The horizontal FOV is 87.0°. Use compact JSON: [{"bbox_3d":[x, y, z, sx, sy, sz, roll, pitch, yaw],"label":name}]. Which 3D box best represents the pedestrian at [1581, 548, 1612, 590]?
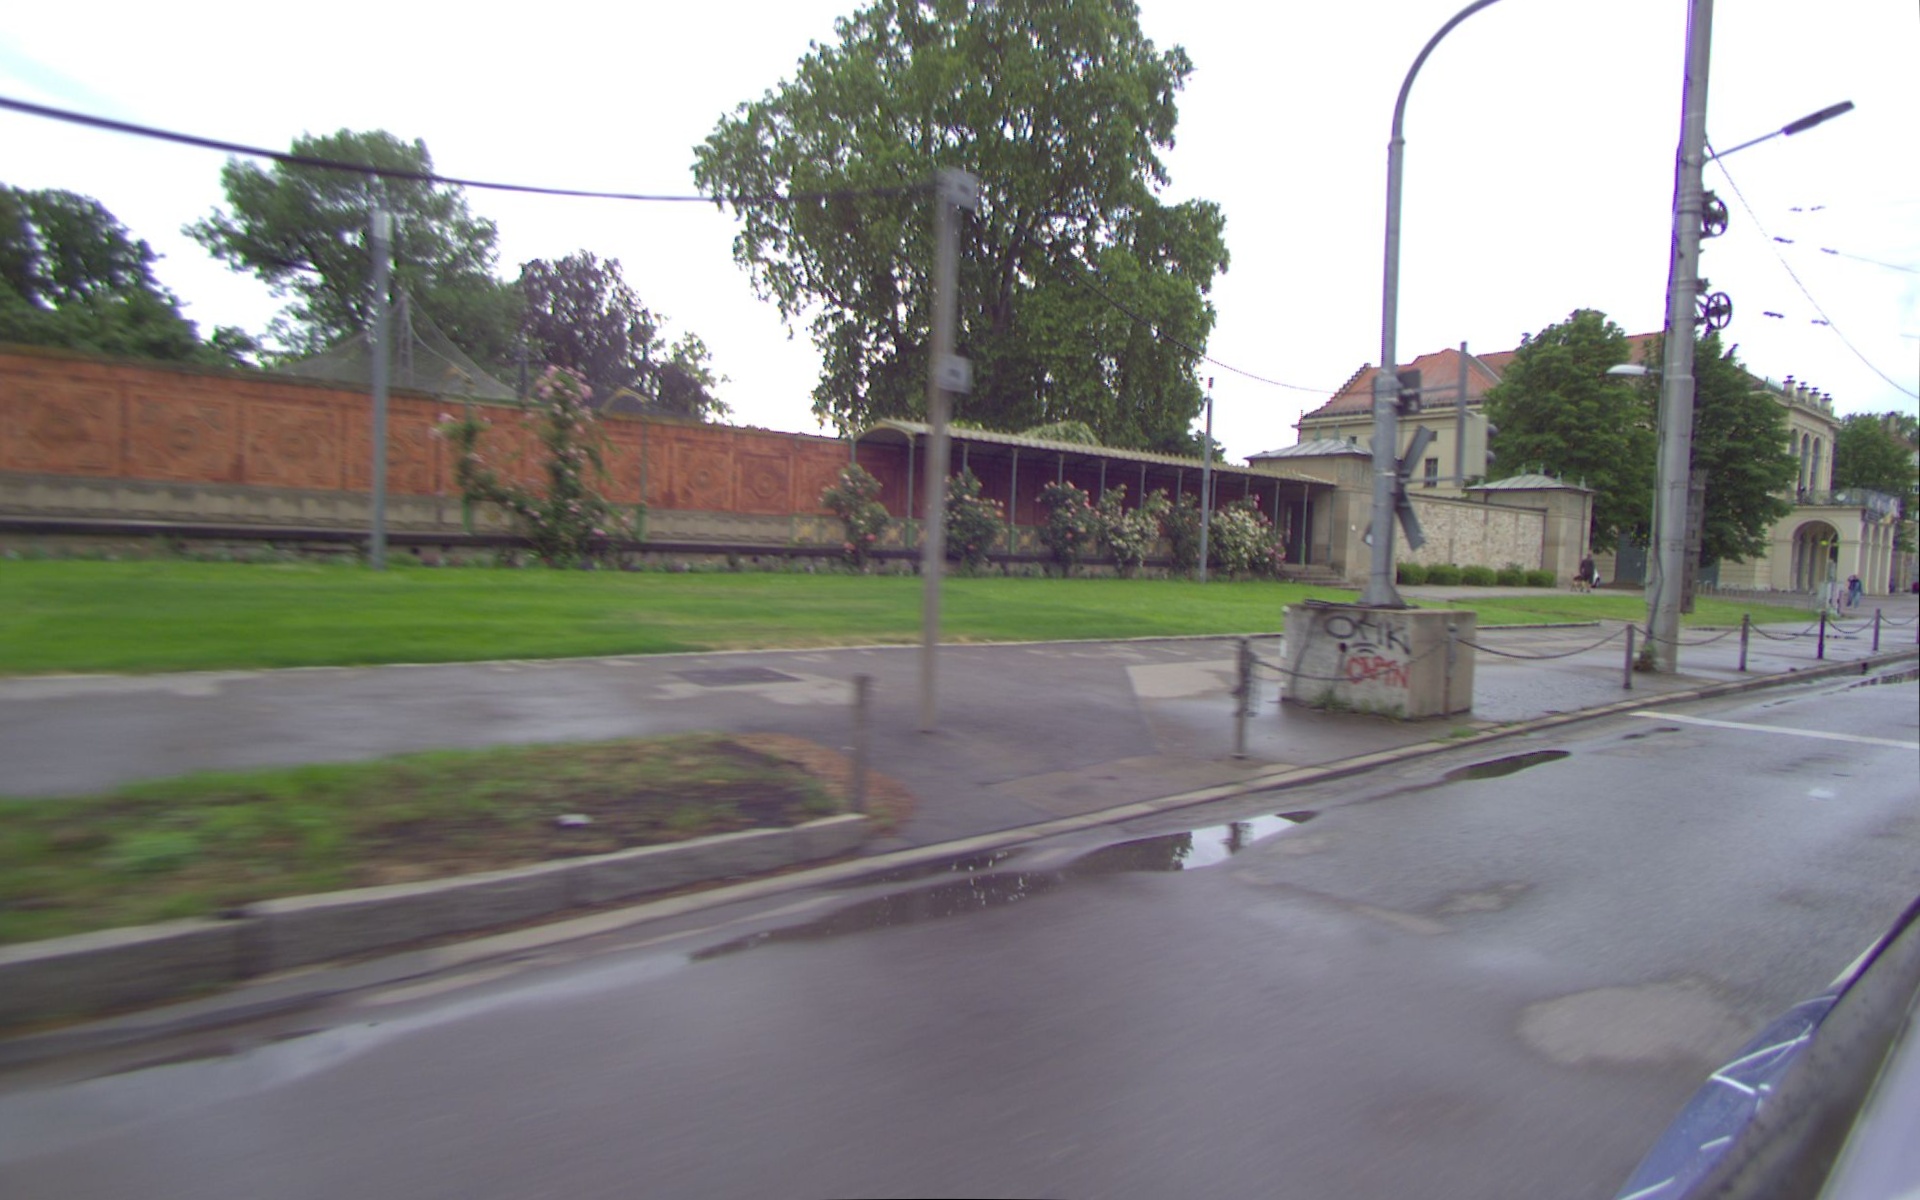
[{"bbox_3d":[27.244,-1.320,43.330,0.963,1.731,0.731,0,4,-37],"label":"pedestrian"}]

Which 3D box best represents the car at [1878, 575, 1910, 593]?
[{"bbox_3d":[82.684,-1.434,89.605,4.000,1.567,1.860,-2,3,-45],"label":"car"}]

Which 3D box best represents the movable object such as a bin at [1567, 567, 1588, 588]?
[{"bbox_3d":[26.785,-0.976,43.883,1.170,0.882,0.343,-1,4,-37],"label":"movable object such as a bin"}]

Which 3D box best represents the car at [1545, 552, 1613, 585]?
[{"bbox_3d":[31.949,-1.613,52.232,3.531,1.472,1.842,2,3,-38],"label":"car"}]

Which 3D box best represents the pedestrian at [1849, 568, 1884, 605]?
[{"bbox_3d":[41.787,-0.629,46.667,0.654,1.609,0.868,2,4,-12],"label":"pedestrian"}]
